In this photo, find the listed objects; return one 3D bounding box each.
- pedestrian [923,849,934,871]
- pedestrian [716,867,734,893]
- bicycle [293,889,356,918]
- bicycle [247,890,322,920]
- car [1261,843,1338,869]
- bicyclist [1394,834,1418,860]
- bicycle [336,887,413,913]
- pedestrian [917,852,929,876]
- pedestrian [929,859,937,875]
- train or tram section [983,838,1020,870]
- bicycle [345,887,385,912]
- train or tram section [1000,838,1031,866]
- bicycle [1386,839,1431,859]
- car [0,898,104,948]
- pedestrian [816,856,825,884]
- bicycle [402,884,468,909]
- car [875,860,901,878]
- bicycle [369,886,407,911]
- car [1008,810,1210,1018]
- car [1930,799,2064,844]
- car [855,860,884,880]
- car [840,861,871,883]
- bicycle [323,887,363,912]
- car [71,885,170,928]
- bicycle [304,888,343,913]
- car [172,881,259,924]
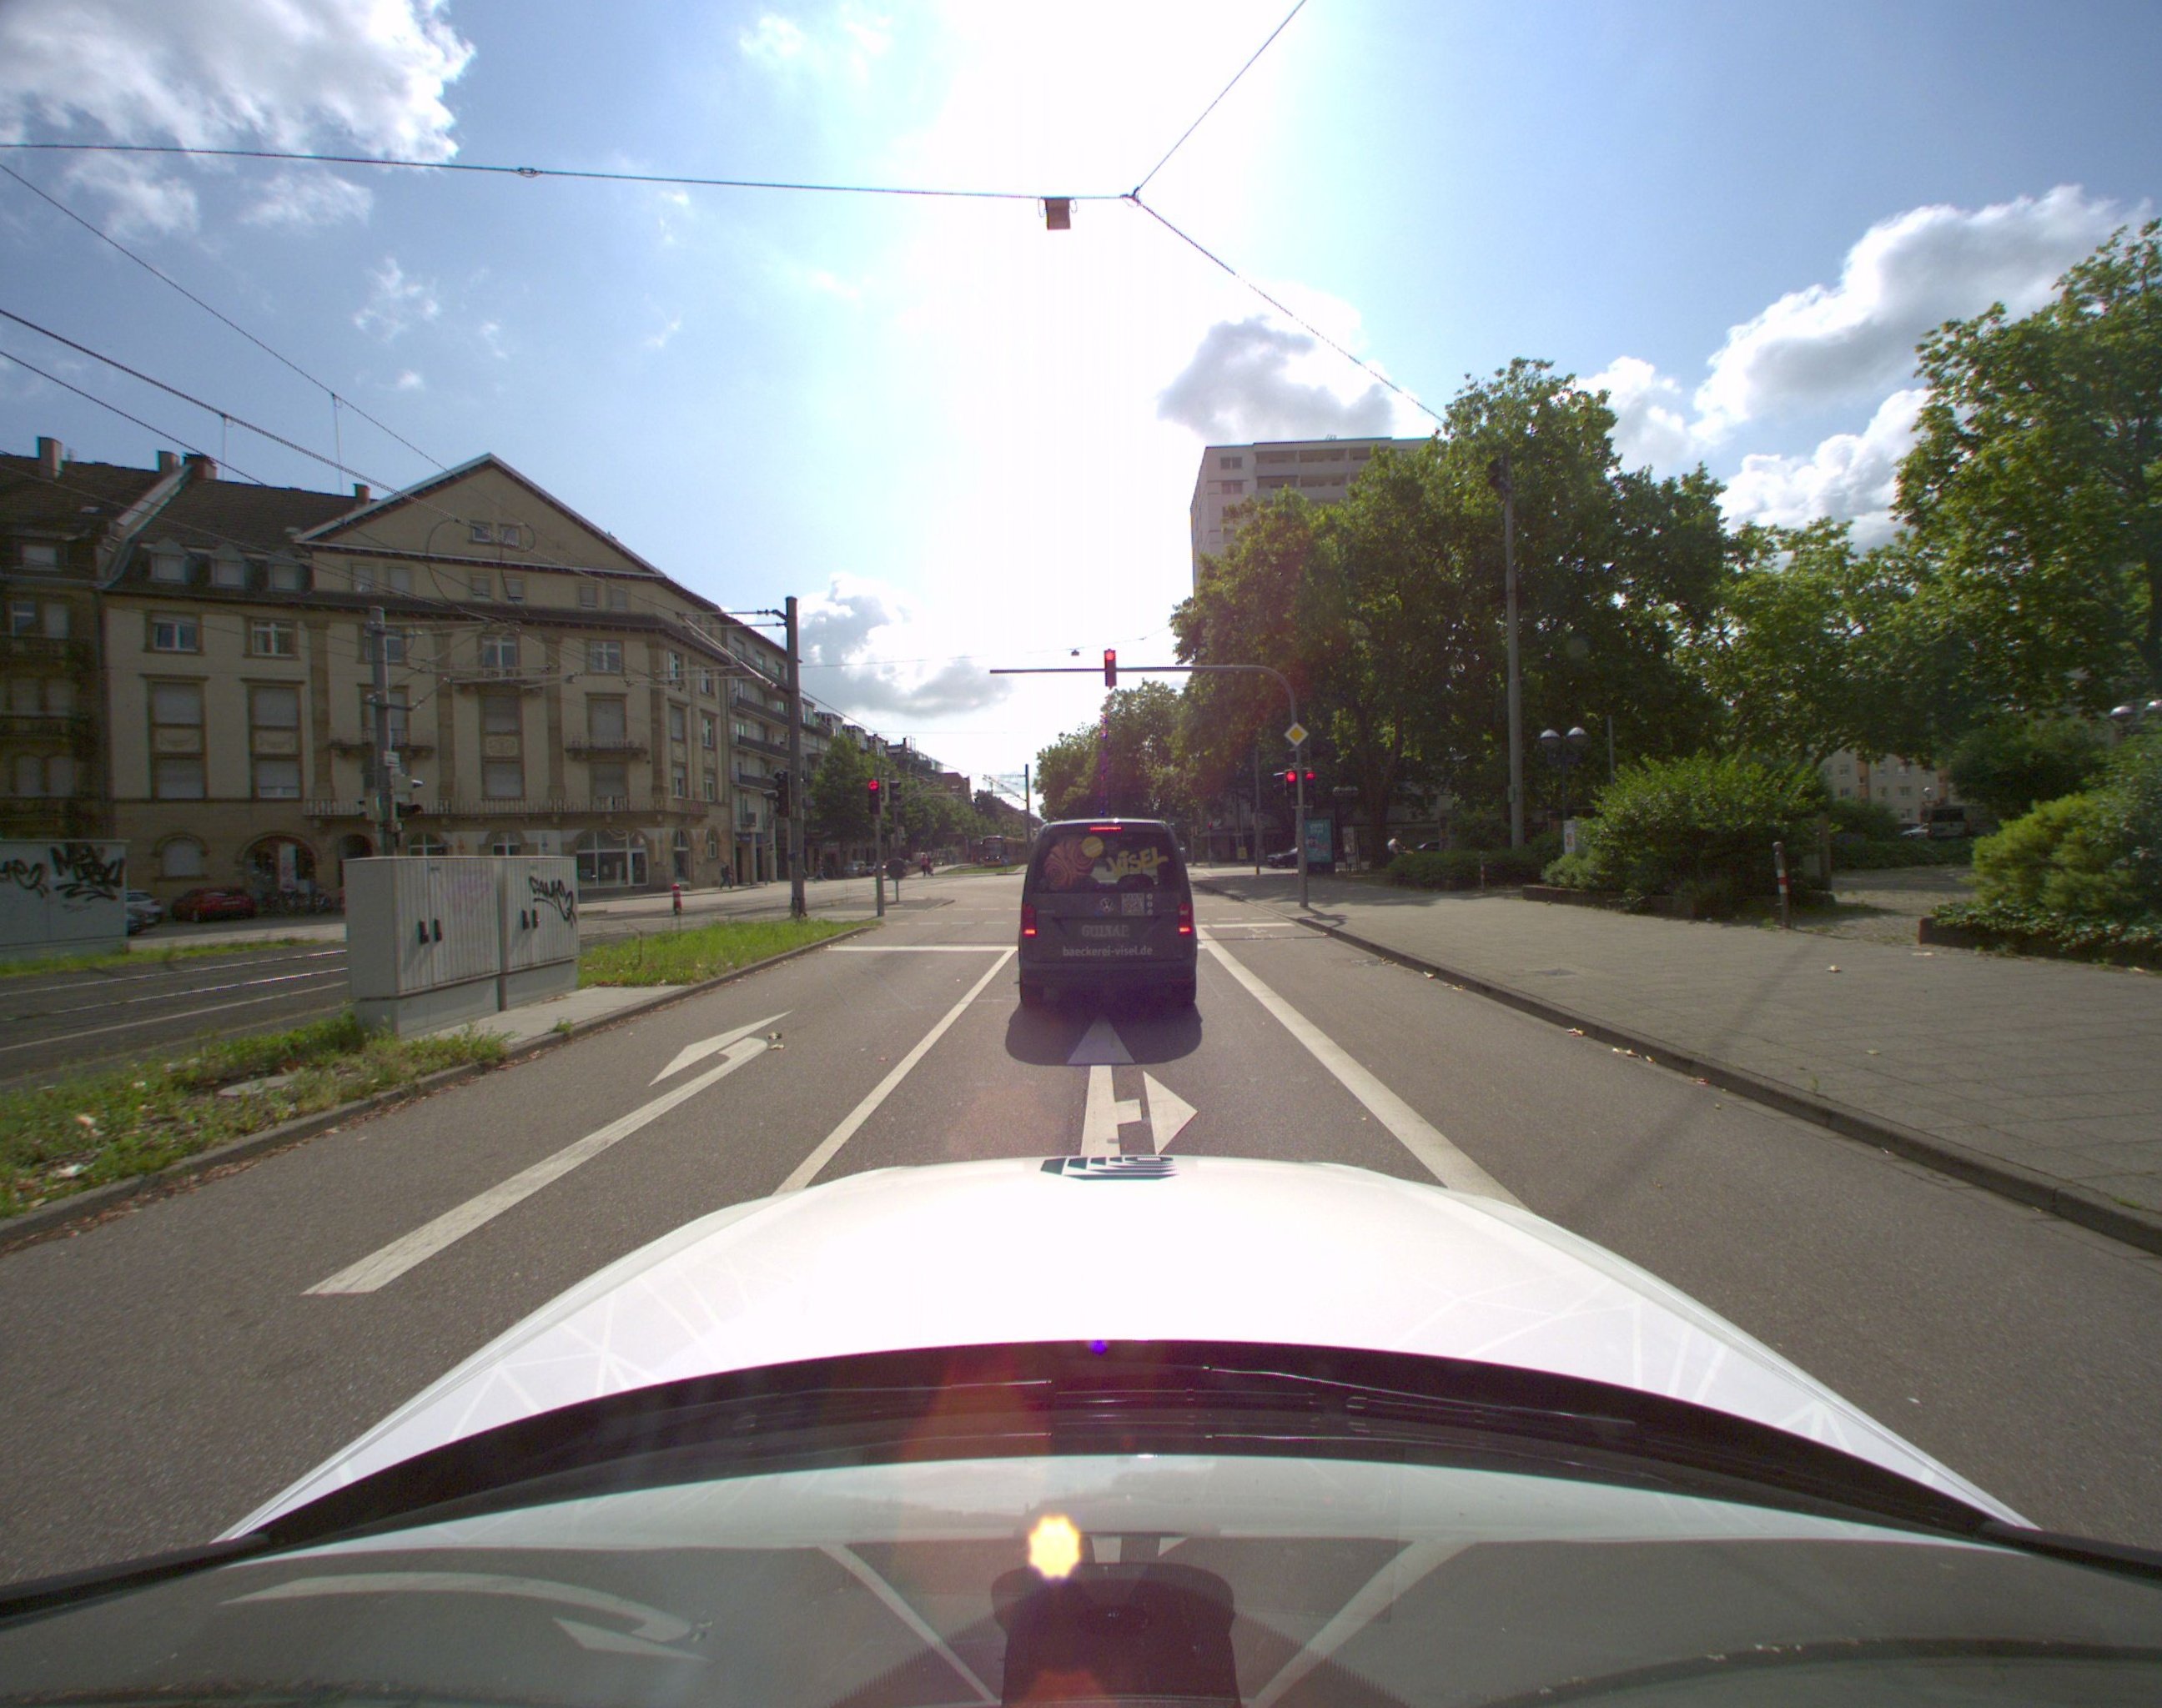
[{"bbox_3d":[-12.065,0.496,64.536,0.656,1.685,0.656,-2,0,2],"label":"pedestrian"},{"bbox_3d":[-23.045,1.680,52.716,0.867,1.596,0.685,-2,0,-45],"label":"pedestrian"},{"bbox_3d":[-33.998,2.213,36.620,1.985,1.114,0.482,-3,0,-35],"label":"bicycle"},{"bbox_3d":[-36.379,2.331,37.201,3.283,1.253,1.003,-2,0,18],"label":"bicycle"},{"bbox_3d":[13.653,0.114,50.938,4.499,1.390,1.694,-3,0,-22],"label":"car"},{"bbox_3d":[19.010,-0.406,47.632,0.995,1.511,0.780,-2,0,-3],"label":"bicyclist"},{"bbox_3d":[-32.942,2.129,38.015,2.571,1.053,0.676,-3,0,-26],"label":"bicycle"},{"bbox_3d":[-11.651,0.725,60.212,0.656,1.784,0.661,-2,0,2],"label":"pedestrian"},{"bbox_3d":[-10.970,0.952,60.365,0.462,1.144,0.435,-2,0,2],"label":"pedestrian"},{"bbox_3d":[-8.826,-0.038,91.899,2.232,3.331,12.978,-2,0,2],"label":"train or tram section"},{"bbox_3d":[-34.412,2.157,39.188,0.808,1.053,2.543,-2,0,-27],"label":"bicycle"},{"bbox_3d":[-8.350,-0.249,105.429,2.232,3.331,14.021,-2,0,2],"label":"train or tram section"},{"bbox_3d":[19.155,-0.311,47.636,2.296,1.048,0.896,-2,0,-4],"label":"bicycle"},{"bbox_3d":[-35.286,2.303,26.233,4.574,1.436,1.694,-3,0,-22],"label":"car"},{"bbox_3d":[-19.123,1.151,59.793,0.476,2.013,0.419,-2,0,-4],"label":"pedestrian"},{"bbox_3d":[-31.935,2.096,40.315,0.797,1.053,2.576,-2,0,14],"label":"bicycle"},{"bbox_3d":[-23.308,1.751,98.634,1.986,2.013,4.002,-2,0,2],"label":"car"},{"bbox_3d":[-33.644,2.140,39.583,0.808,1.053,2.543,-2,0,-27],"label":"bicycle"},{"bbox_3d":[0.309,0.517,8.888,1.743,1.808,3.476,-1,0,2],"label":"car"},{"bbox_3d":[46.948,-1.643,41.823,4.396,2.013,2.079,-2,0,3],"label":"car"},{"bbox_3d":[-23.407,1.712,90.123,1.986,2.013,4.002,-2,0,2],"label":"car"},{"bbox_3d":[-23.621,1.862,85.426,1.986,2.013,4.002,-2,0,2],"label":"car"},{"bbox_3d":[-35.167,2.173,38.848,0.744,1.053,2.543,-2,0,-27],"label":"bicycle"},{"bbox_3d":[-41.458,2.264,35.152,3.950,1.639,1.813,-2,0,26],"label":"car"},{"bbox_3d":[-36.098,2.192,38.834,0.744,1.053,2.343,-2,0,-27],"label":"bicycle"},{"bbox_3d":[-38.449,2.128,36.169,3.948,1.674,2.013,-2,0,34],"label":"car"}]
